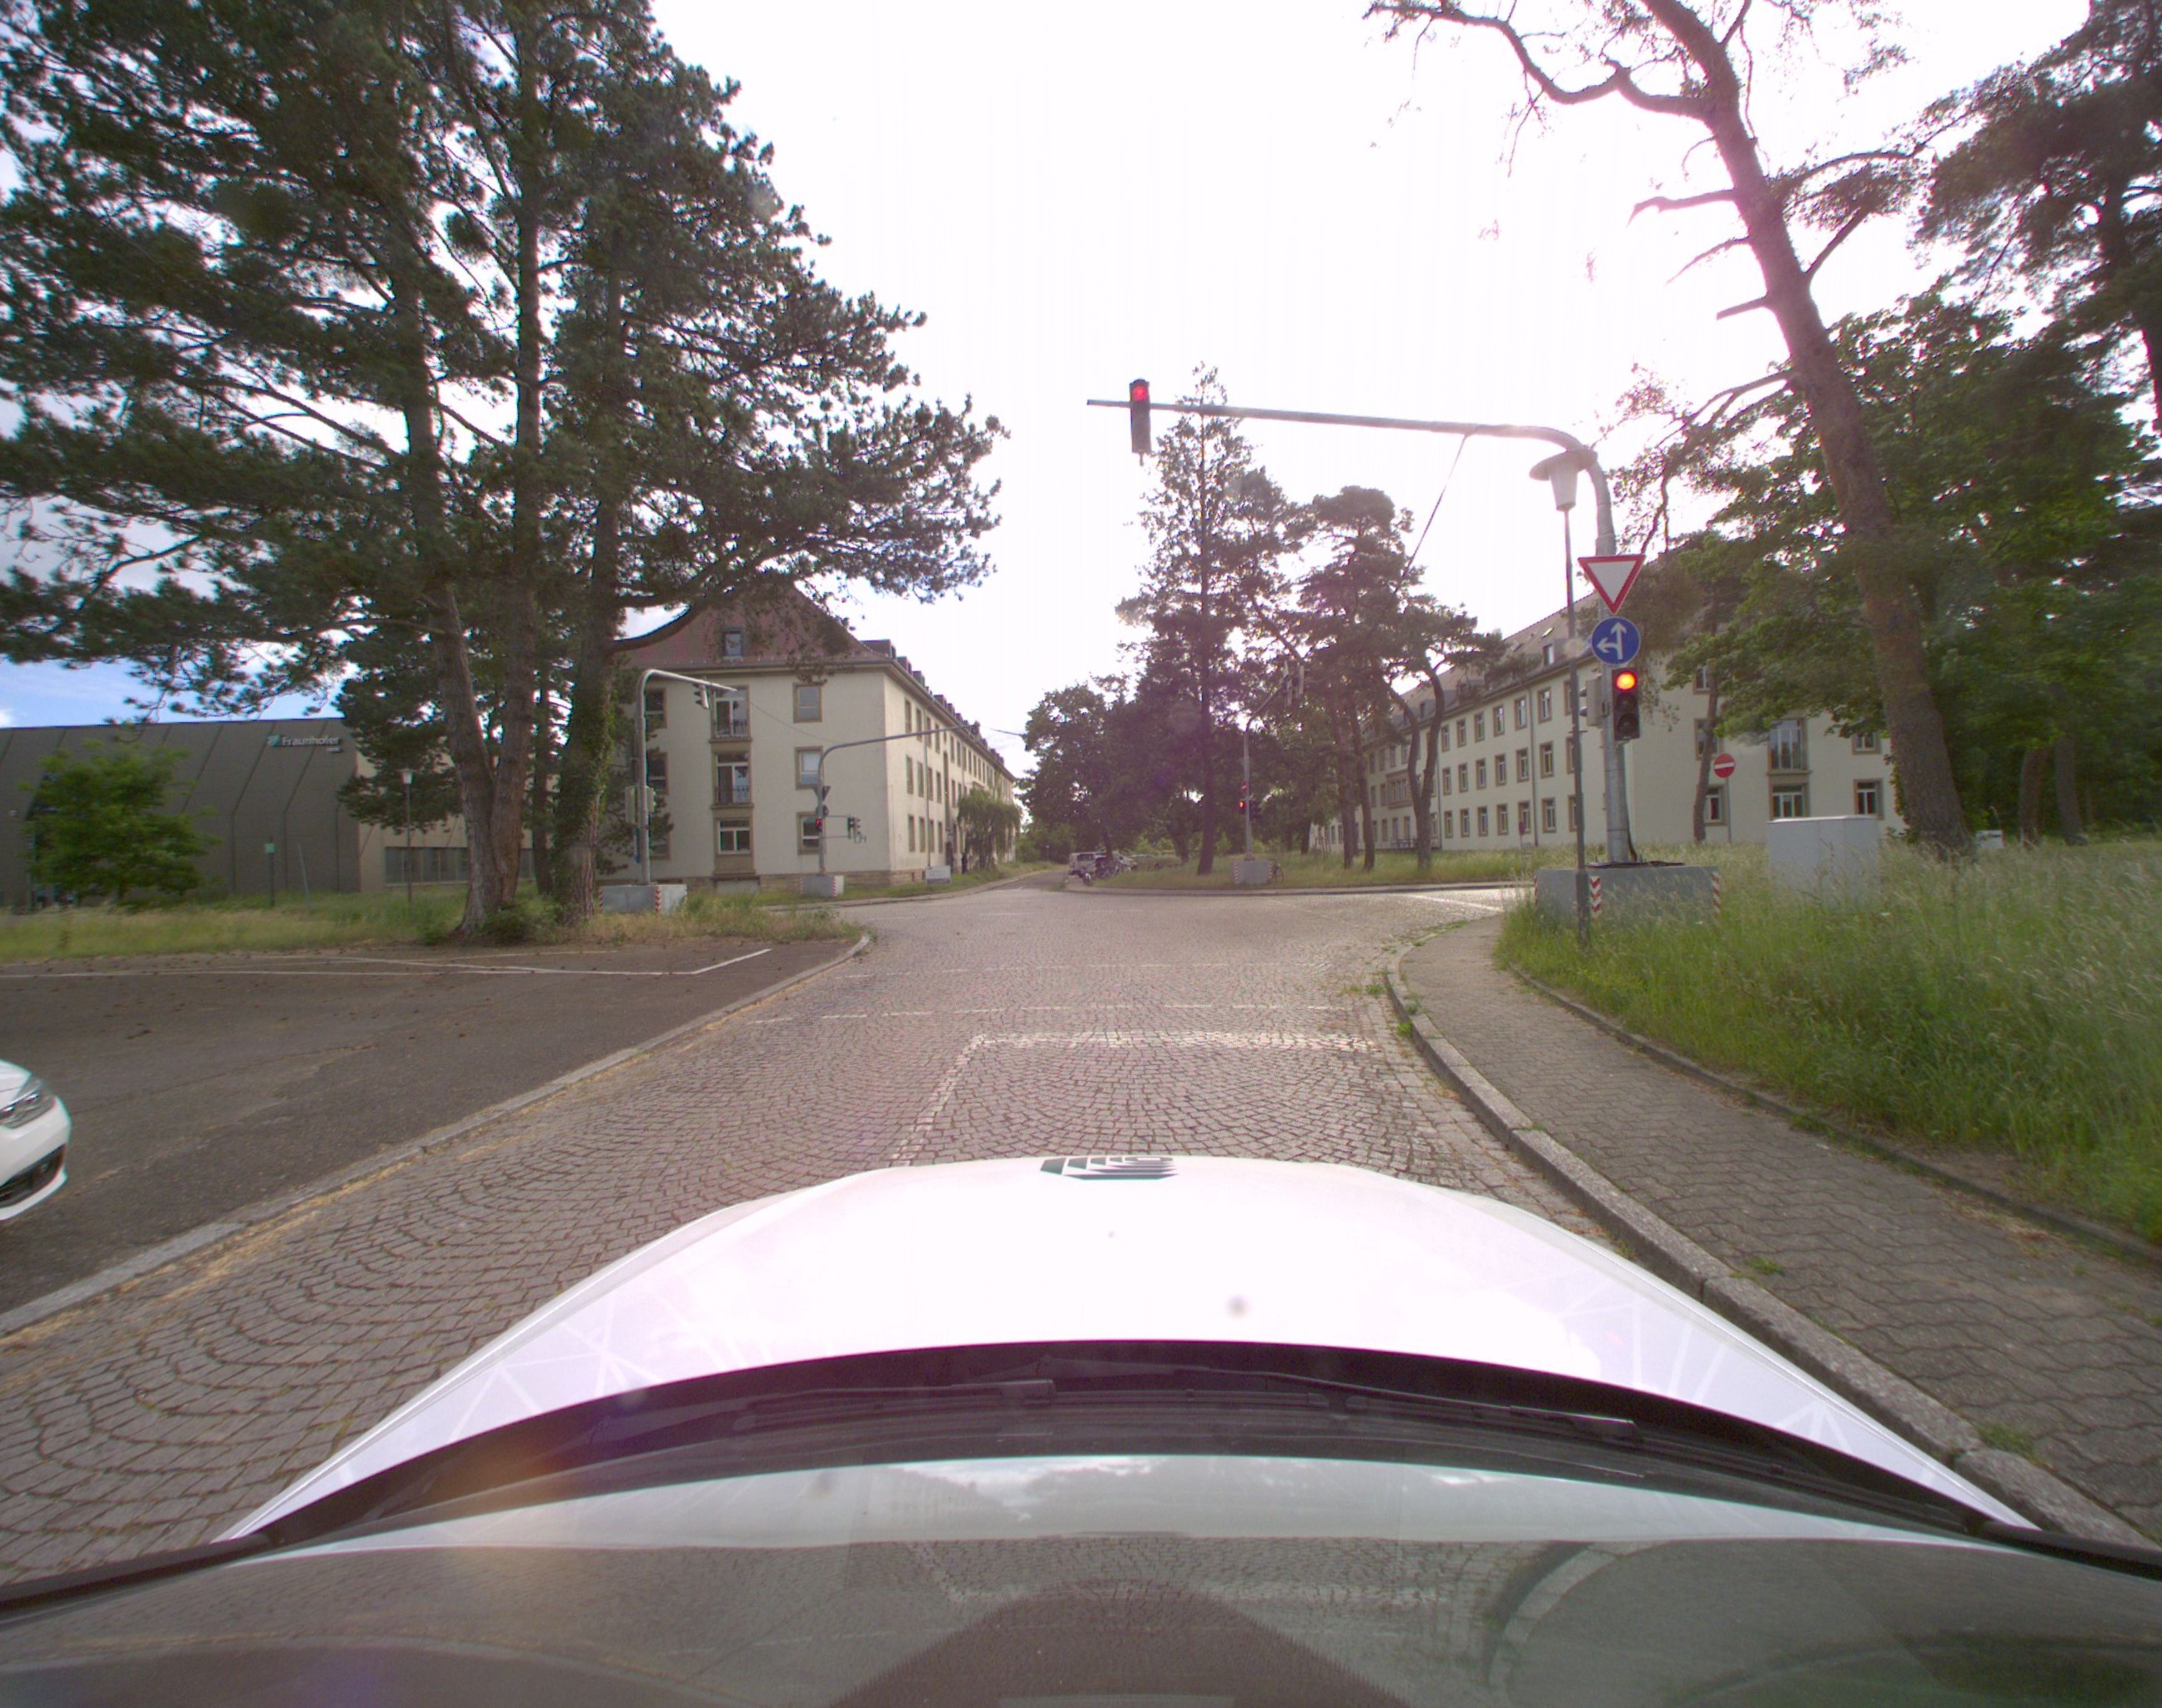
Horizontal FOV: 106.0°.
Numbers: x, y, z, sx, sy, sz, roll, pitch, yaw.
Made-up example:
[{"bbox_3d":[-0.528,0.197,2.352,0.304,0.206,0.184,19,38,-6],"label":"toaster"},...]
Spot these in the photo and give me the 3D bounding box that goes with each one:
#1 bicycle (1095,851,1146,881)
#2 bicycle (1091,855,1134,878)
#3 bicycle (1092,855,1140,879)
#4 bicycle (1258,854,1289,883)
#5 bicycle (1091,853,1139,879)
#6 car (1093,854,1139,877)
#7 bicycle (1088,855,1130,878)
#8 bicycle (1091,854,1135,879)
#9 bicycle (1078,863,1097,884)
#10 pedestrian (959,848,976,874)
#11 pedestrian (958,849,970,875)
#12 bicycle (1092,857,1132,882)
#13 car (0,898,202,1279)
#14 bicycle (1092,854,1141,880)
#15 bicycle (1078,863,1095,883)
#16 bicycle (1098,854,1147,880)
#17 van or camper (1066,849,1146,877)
[{"bbox_3d":[2.236,0.647,46.033,2.793,1.583,0.950,-2,0,0],"label":"bicycle"},{"bbox_3d":[1.914,0.762,50.195,2.560,1.372,0.950,-2,0,-1],"label":"bicycle"},{"bbox_3d":[2.048,0.770,48.391,2.793,1.372,0.950,-2,0,0],"label":"bicycle"},{"bbox_3d":[7.657,0.571,32.432,0.643,1.062,1.832,-6,0,-2],"label":"bicycle"},{"bbox_3d":[1.878,0.671,45.164,2.611,1.367,0.874,-2,0,0],"label":"bicycle"},{"bbox_3d":[2.529,0.811,59.158,3.215,1.621,1.937,-1,-1,-1],"label":"car"},{"bbox_3d":[1.763,0.773,51.034,2.560,1.372,0.950,-2,0,-1],"label":"bicycle"},{"bbox_3d":[1.915,0.753,49.355,2.560,1.372,0.950,-2,0,-1],"label":"bicycle"},{"bbox_3d":[0.333,0.976,41.178,0.897,0.996,1.978,-2,0,0],"label":"bicycle"},{"bbox_3d":[-8.348,0.535,59.847,1.194,1.870,1.545,-1,-1,-9],"label":"pedestrian"},{"bbox_3d":[-8.708,0.594,60.633,0.865,1.932,0.834,0,-1,-11],"label":"pedestrian"},{"bbox_3d":[1.685,0.843,44.552,2.106,1.306,0.874,-2,0,0],"label":"bicycle"},{"bbox_3d":[-6.592,0.912,2.856,4.792,1.439,1.912,1,0,-2],"label":"car"},{"bbox_3d":[2.064,0.760,47.498,2.793,1.372,0.950,-2,0,0],"label":"bicycle"},{"bbox_3d":[0.289,1.000,43.270,0.724,0.996,1.982,-2,0,5],"label":"bicycle"},{"bbox_3d":[2.382,0.750,46.962,2.793,1.372,0.950,-2,0,0],"label":"bicycle"},{"bbox_3d":[1.891,0.679,62.674,5.746,1.957,2.228,-2,0,-12],"label":"van or camper"}]
